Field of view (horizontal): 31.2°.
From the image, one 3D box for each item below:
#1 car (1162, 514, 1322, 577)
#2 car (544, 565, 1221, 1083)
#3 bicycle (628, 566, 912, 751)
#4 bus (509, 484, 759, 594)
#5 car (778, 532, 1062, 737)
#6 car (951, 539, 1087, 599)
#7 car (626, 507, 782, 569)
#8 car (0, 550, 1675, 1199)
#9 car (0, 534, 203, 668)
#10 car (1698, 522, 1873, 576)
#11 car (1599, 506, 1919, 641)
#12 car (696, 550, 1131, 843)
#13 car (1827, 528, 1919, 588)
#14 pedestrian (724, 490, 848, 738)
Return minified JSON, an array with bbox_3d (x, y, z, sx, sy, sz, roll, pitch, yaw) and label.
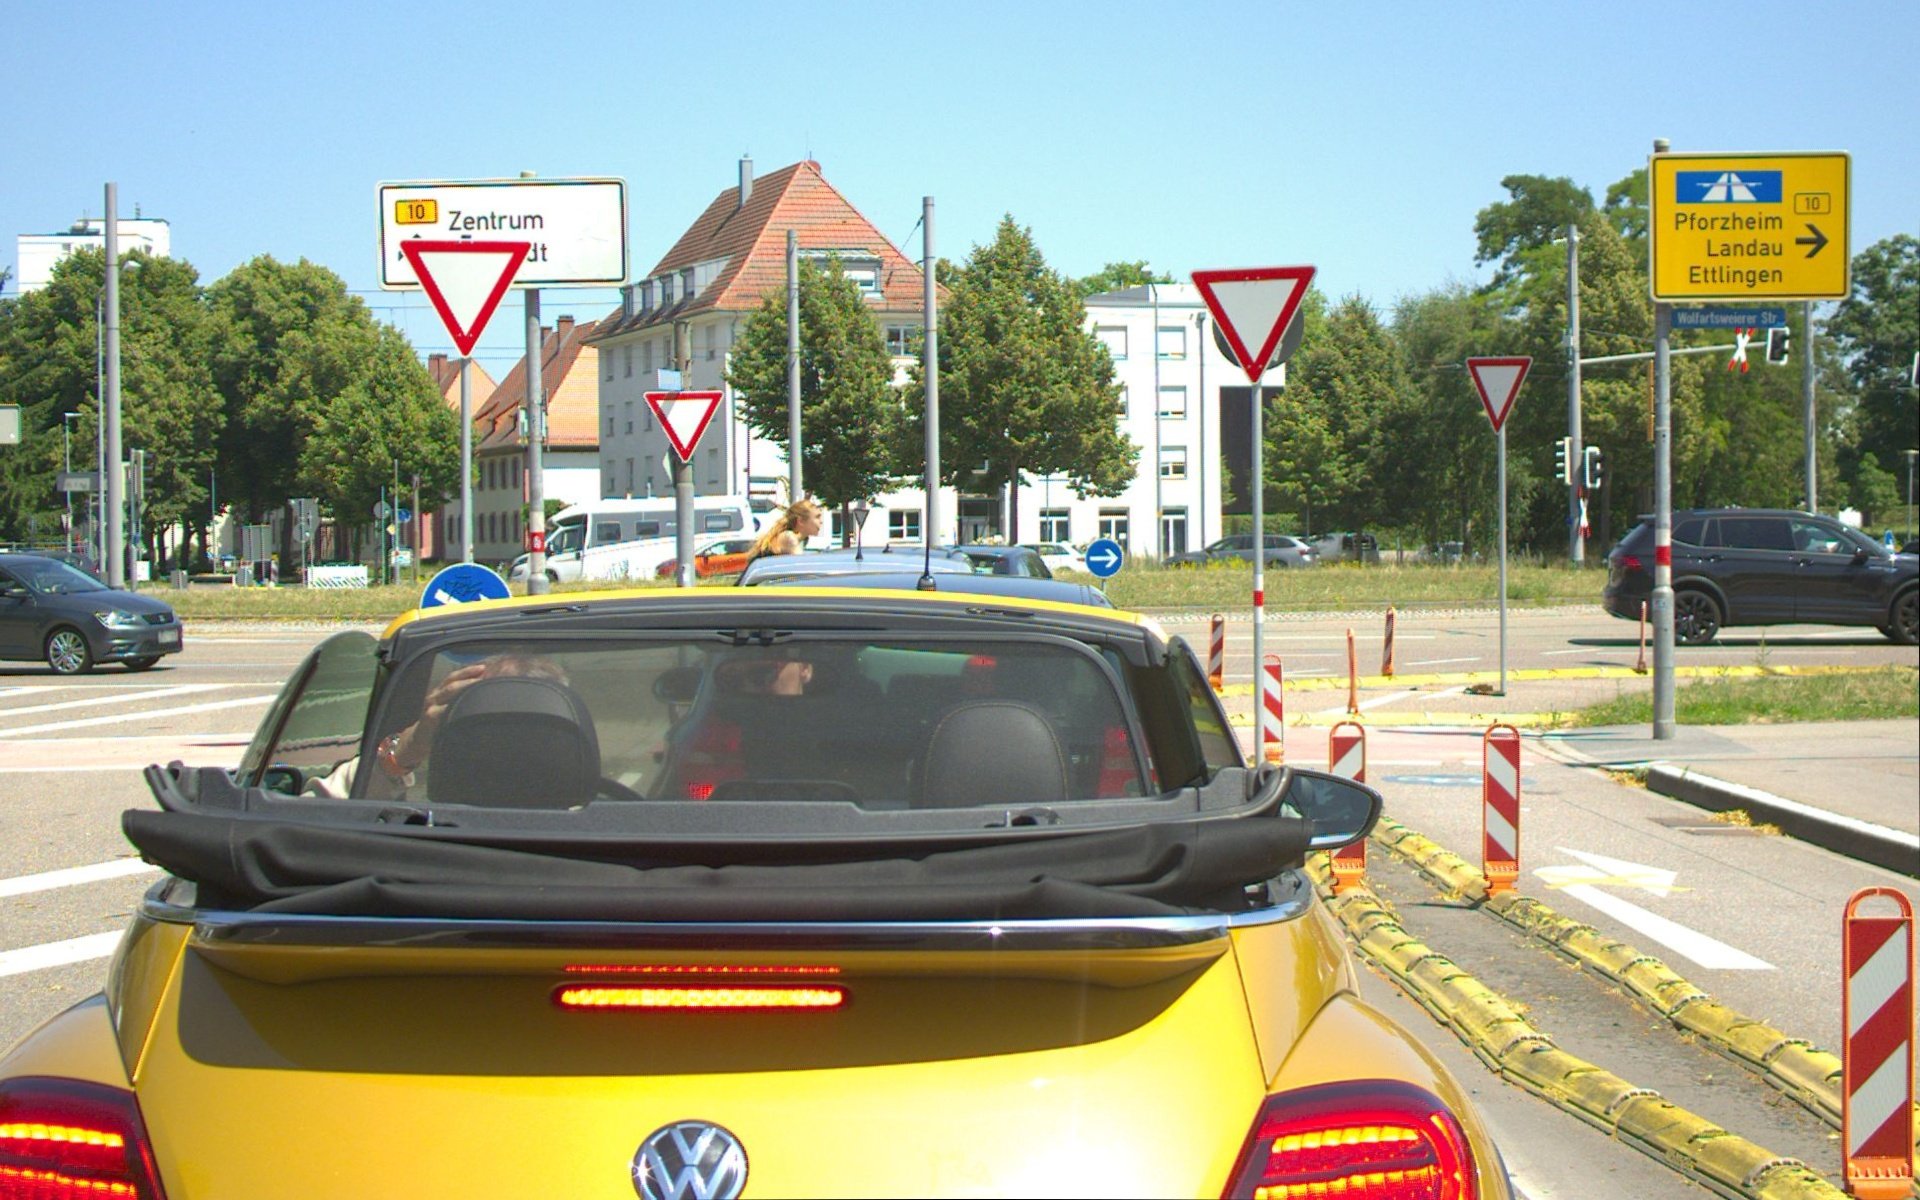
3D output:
[{"bbox_3d":[8.152,-1.569,99.364,4.432,1.730,1.848,1,0,10],"label":"car"},{"bbox_3d":[-0.237,0.598,11.639,1.851,1.361,4.258,-1,1,-1],"label":"car"},{"bbox_3d":[-1.313,0.402,23.831,1.843,1.227,0.613,-2,0,10],"label":"bicycle"},{"bbox_3d":[-9.837,-1.823,103.604,7.251,3.161,2.262,1,0,-12],"label":"bus"},{"bbox_3d":[-0.318,0.212,27.552,2.065,1.476,4.543,-1,1,-1],"label":"car"},{"bbox_3d":[1.806,-0.955,104.730,3.988,1.766,1.786,1,0,6],"label":"car"},{"bbox_3d":[-7.437,-1.793,100.230,4.430,1.730,1.849,1,0,-2],"label":"car"},{"bbox_3d":[-0.299,0.681,5.095,1.765,1.476,4.258,1,1,-1],"label":"car"},{"bbox_3d":[-11.649,0.001,42.147,4.333,1.546,1.726,0,2,18],"label":"car"},{"bbox_3d":[21.601,-1.353,90.120,1.747,1.367,4.330,0,1,-37],"label":"car"},{"bbox_3d":[10.253,-0.343,42.775,4.406,1.590,1.999,-1,1,8],"label":"car"},{"bbox_3d":[-0.247,0.443,18.597,2.065,1.377,4.258,1,1,-1],"label":"car"},{"bbox_3d":[25.732,-1.135,93.912,1.875,1.608,4.332,1,1,-20],"label":"car"},{"bbox_3d":[-1.204,0.094,23.822,0.733,1.685,0.575,1,0,9],"label":"pedestrian"}]
